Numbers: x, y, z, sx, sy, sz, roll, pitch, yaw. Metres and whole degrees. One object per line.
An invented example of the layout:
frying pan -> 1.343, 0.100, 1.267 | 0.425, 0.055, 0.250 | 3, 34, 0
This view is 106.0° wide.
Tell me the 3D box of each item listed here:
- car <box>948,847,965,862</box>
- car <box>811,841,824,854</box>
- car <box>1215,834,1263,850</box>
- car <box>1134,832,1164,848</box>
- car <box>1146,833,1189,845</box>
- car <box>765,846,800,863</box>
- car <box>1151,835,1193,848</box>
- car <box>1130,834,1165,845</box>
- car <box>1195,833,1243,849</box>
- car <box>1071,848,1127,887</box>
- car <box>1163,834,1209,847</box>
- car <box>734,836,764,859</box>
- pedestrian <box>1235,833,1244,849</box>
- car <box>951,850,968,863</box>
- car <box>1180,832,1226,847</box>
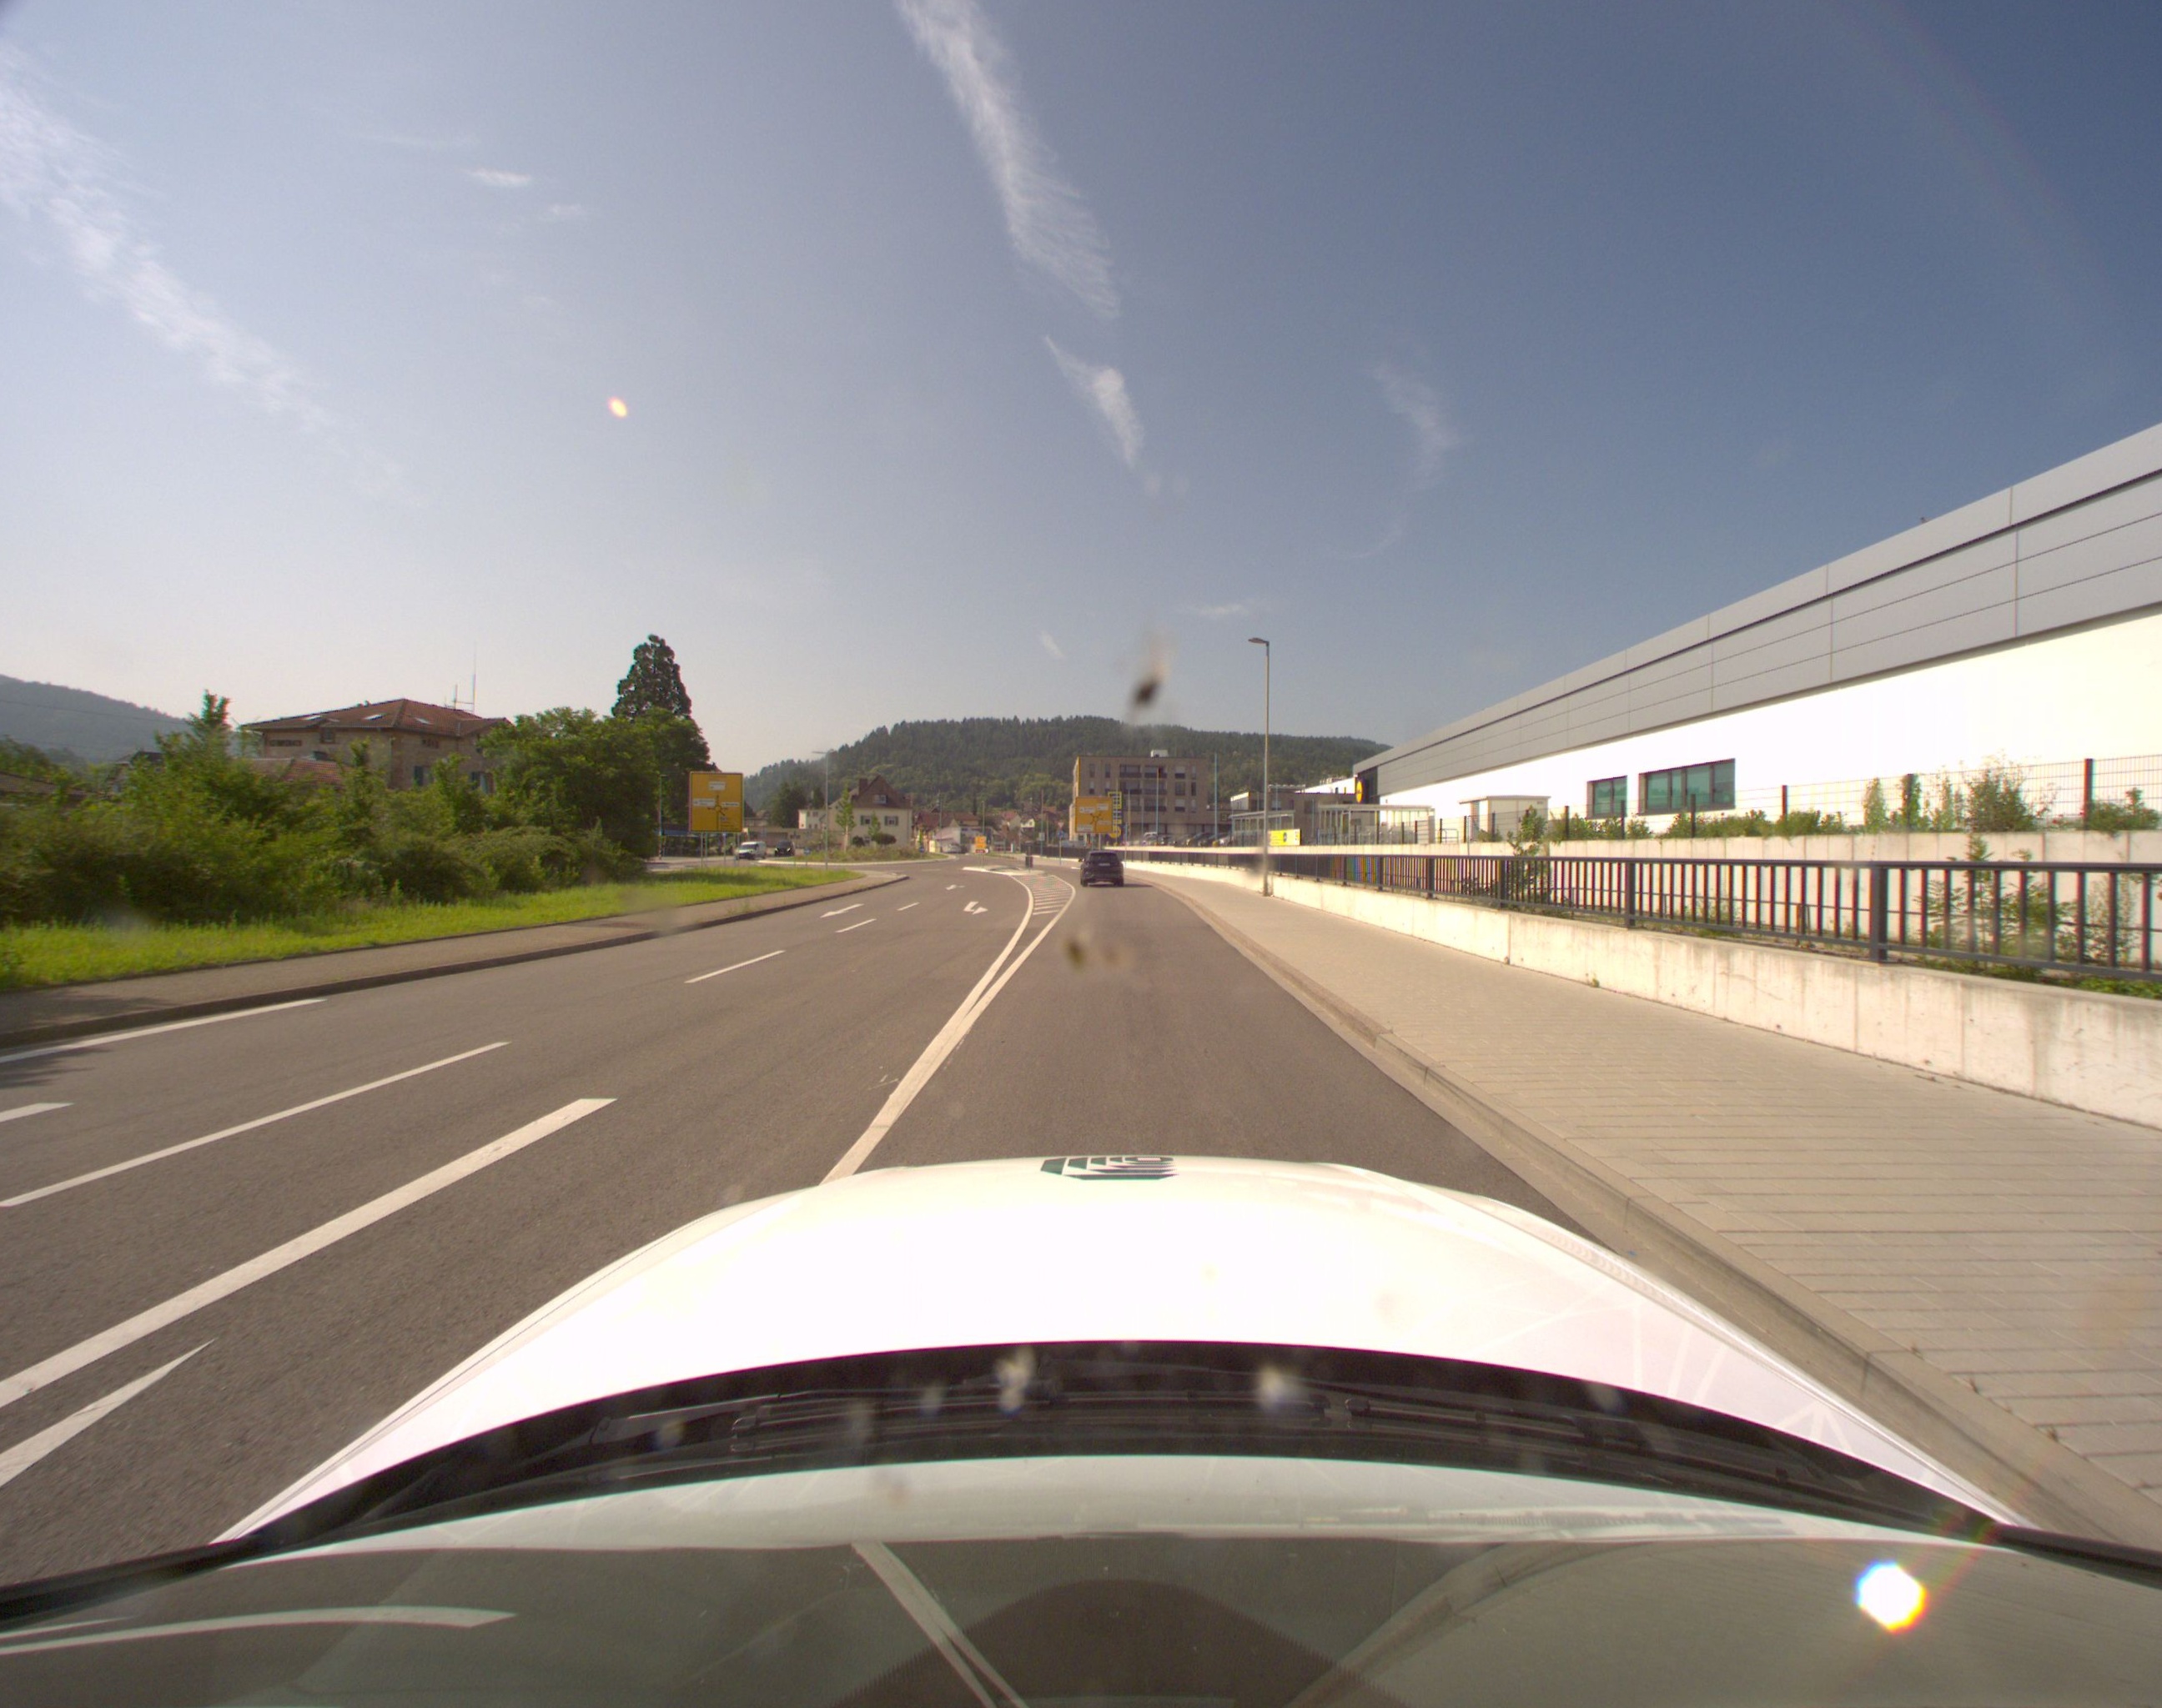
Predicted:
car -> -17.490, 0.045, 114.709 | 1.990, 2.013, 3.994 | -1, 0, -4
car -> -39.812, -0.989, 123.159 | 1.815, 2.013, 3.975 | 0, 1, -19
car -> 13.758, -1.078, 70.979 | 3.814, 1.364, 1.671 | 0, 1, -17
car -> 9.026, -1.825, 107.860 | 3.968, 2.136, 2.003 | -1, 0, 4
car -> 9.222, -1.603, 86.600 | 4.289, 1.245, 1.655 | 0, 1, -17
car -> -35.798, 0.054, 97.820 | 1.830, 1.946, 4.891 | -1, 0, 6
car -> 9.347, -1.298, 83.941 | 3.976, 1.245, 1.720 | 0, 1, -17
car -> 7.507, -1.629, 92.059 | 3.563, 1.199, 1.705 | 0, 1, -17
car -> 12.524, -1.181, 74.072 | 4.071, 1.404, 1.477 | 0, 1, -17
car -> 0.765, 0.575, 37.678 | 1.881, 1.684, 3.987 | -1, 0, -9
car -> 10.476, -1.344, 81.023 | 4.223, 1.245, 1.734 | 0, 1, -17
car -> -33.543, -0.652, 82.408 | 1.805, 2.077, 4.593 | 1, 3, -8
pedestrian -> 13.524, -1.117, 69.607 | 0.548, 1.312, 0.653 | 0, 0, -14
car -> -19.574, 0.360, 131.407 | 2.000, 2.013, 3.973 | 0, 0, -20
car -> 11.662, -1.351, 77.831 | 4.015, 1.404, 1.715 | 0, 1, -17
